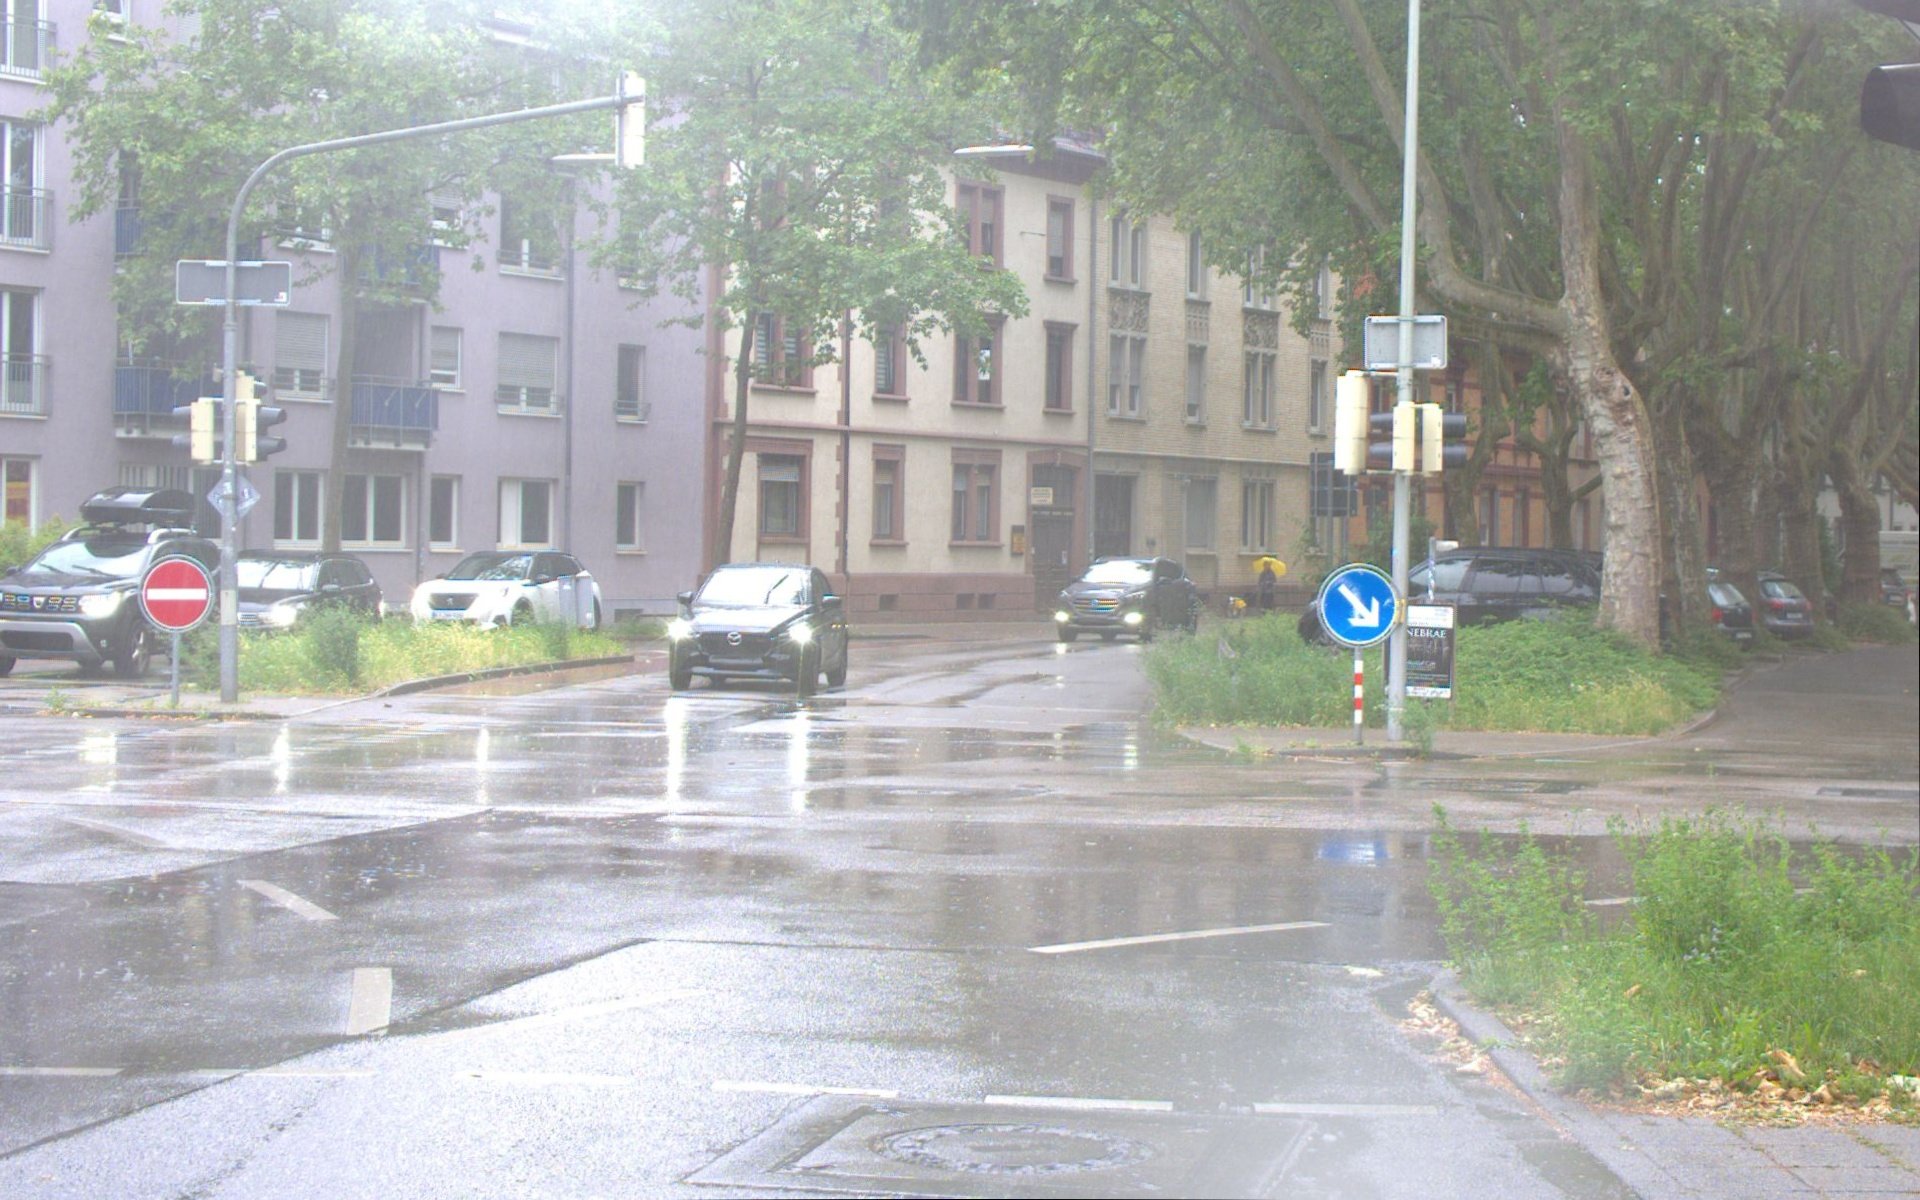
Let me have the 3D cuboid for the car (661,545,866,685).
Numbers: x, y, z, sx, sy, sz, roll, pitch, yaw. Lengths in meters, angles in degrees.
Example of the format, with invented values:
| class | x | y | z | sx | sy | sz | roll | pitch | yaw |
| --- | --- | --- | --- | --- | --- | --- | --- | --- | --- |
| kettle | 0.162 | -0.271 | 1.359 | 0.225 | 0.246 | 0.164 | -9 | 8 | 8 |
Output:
| class | x | y | z | sx | sy | sz | roll | pitch | yaw |
| --- | --- | --- | --- | --- | --- | --- | --- | --- | --- |
| car | -2.268 | 0.146 | 40.569 | 1.603 | 1.547 | 3.558 | 0 | 1 | 10 |

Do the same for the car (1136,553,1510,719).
| class | x | y | z | sx | sy | sz | roll | pitch | yaw |
| --- | --- | --- | --- | --- | --- | --- | --- | --- | --- |
| car | 3.504 | 0.336 | 33.000 | 3.480 | 1.518 | 1.519 | -1 | 1 | 9 |

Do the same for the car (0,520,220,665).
| class | x | y | z | sx | sy | sz | roll | pitch | yaw |
| --- | --- | --- | --- | --- | --- | --- | --- | --- | --- |
| car | -9.751 | -0.116 | 38.778 | 1.725 | 1.547 | 3.559 | -1 | 1 | 5 |

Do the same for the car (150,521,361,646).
| class | x | y | z | sx | sy | sz | roll | pitch | yaw |
| --- | --- | --- | --- | --- | --- | --- | --- | --- | --- |
| car | -9.159 | -0.247 | 44.951 | 1.725 | 1.547 | 3.559 | -1 | 1 | 5 |

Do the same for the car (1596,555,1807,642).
| class | x | y | z | sx | sy | sz | roll | pitch | yaw |
| --- | --- | --- | --- | --- | --- | --- | --- | --- | --- |
| car | 14.146 | -0.038 | 65.590 | 3.611 | 1.612 | 1.679 | 0 | 1 | 28 |

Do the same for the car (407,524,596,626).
| class | x | y | z | sx | sy | sz | roll | pitch | yaw |
| --- | --- | --- | --- | --- | --- | --- | --- | --- | --- |
| car | -7.245 | -0.430 | 54.696 | 1.678 | 1.547 | 4.197 | 0 | 1 | 12 |

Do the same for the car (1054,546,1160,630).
| class | x | y | z | sx | sy | sz | roll | pitch | yaw |
| --- | --- | --- | --- | --- | --- | --- | --- | --- | --- |
| car | 2.866 | -0.258 | 66.447 | 1.603 | 1.547 | 3.558 | -1 | 1 | 10 |
